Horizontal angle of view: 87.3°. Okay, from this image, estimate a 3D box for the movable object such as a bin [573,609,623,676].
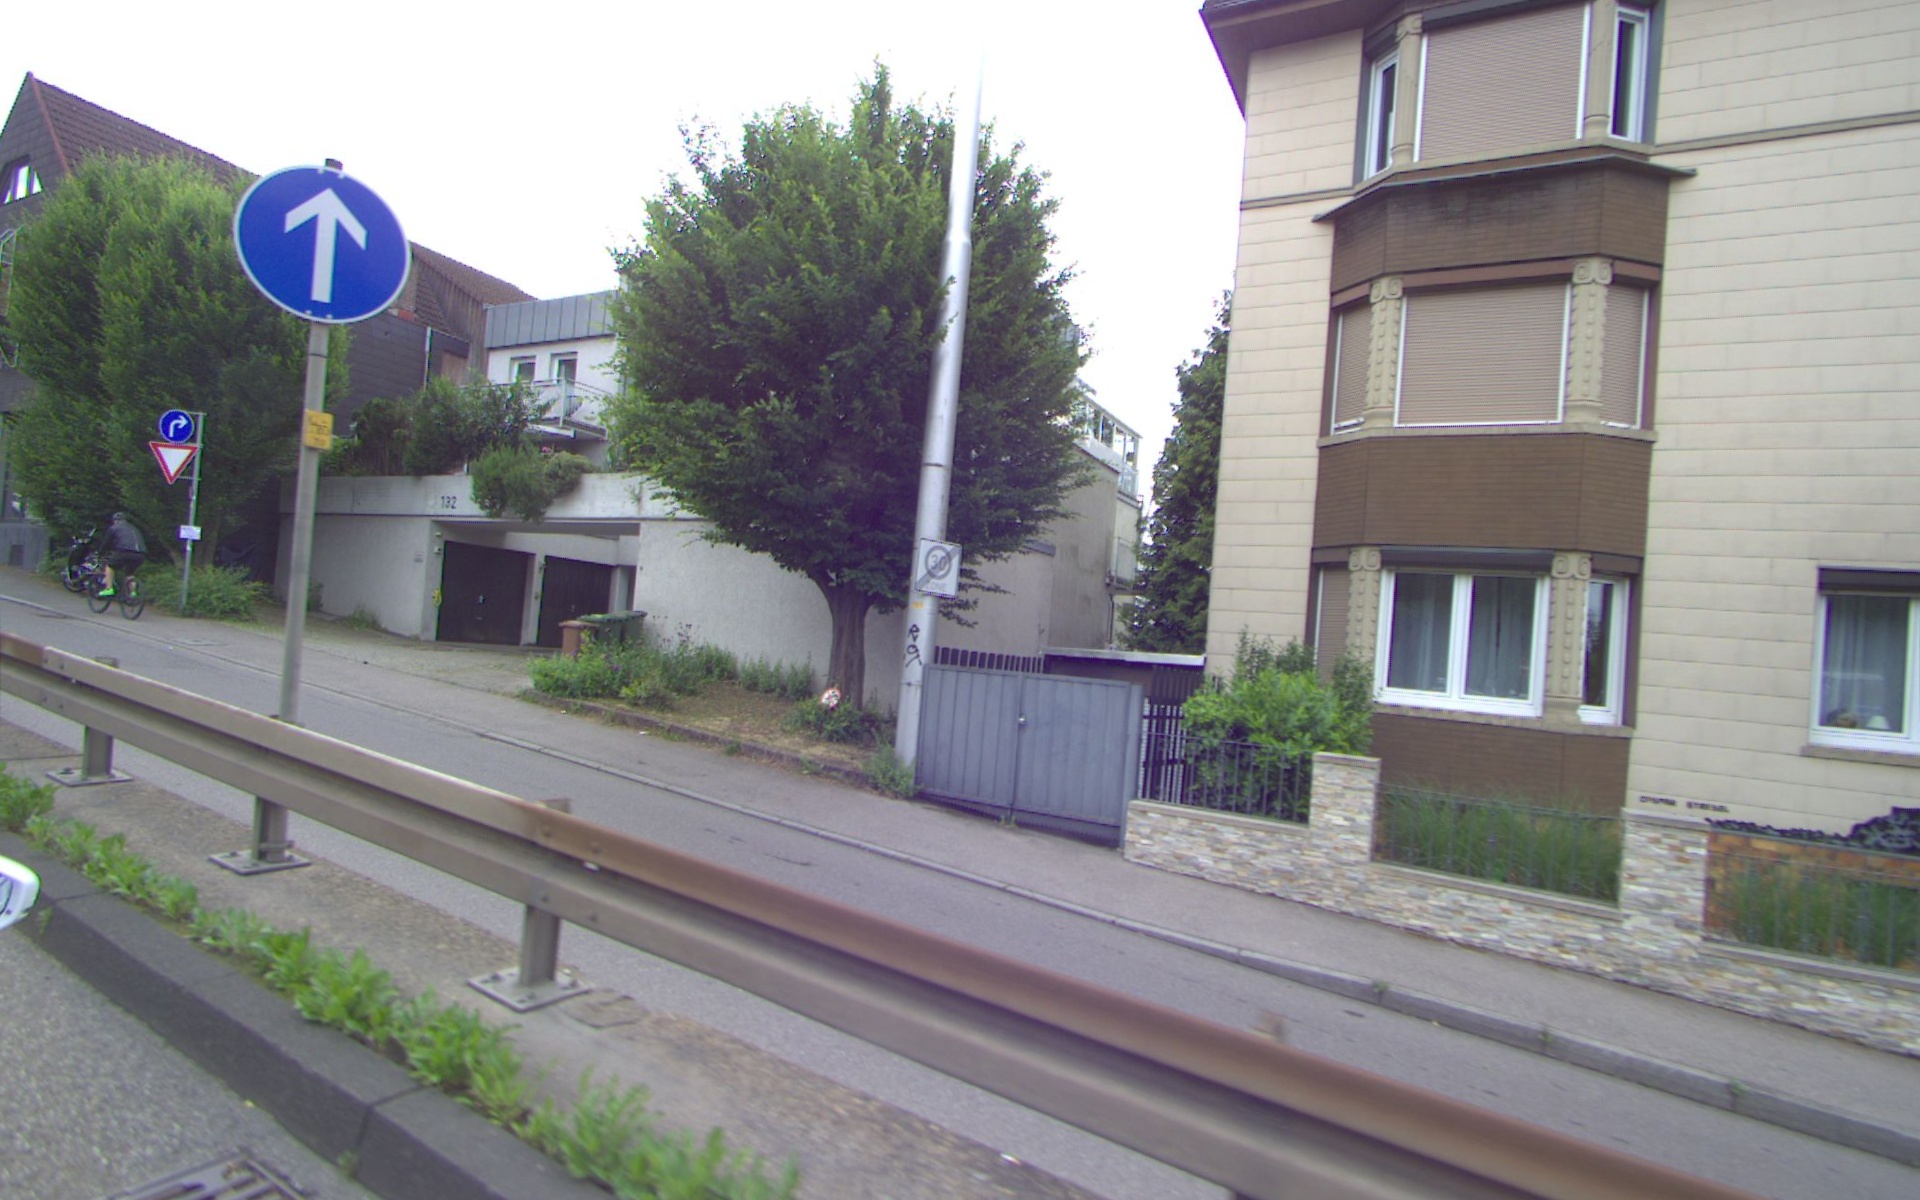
[{"bbox_3d":[-6.274,0.729,17.447,0.551,1.070,0.541,8,6,30],"label":"movable object such as a bin"}]

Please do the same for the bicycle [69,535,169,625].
[{"bbox_3d":[-14.685,-0.357,17.550,2.003,1.278,0.572,9,1,29],"label":"bicycle"}]

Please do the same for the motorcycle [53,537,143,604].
[{"bbox_3d":[-16.805,-0.575,19.610,1.934,1.064,0.696,7,0,31],"label":"motorcycle"}]

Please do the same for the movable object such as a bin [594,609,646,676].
[{"bbox_3d":[-6.089,0.748,18.014,0.644,1.096,0.541,8,6,30],"label":"movable object such as a bin"}]

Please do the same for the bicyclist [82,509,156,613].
[{"bbox_3d":[-14.619,-0.679,17.490,0.931,1.652,0.539,8,-1,30],"label":"bicyclist"}]

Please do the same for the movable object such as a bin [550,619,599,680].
[{"bbox_3d":[-6.524,0.828,17.026,0.551,0.952,0.452,8,3,30],"label":"movable object such as a bin"}]
